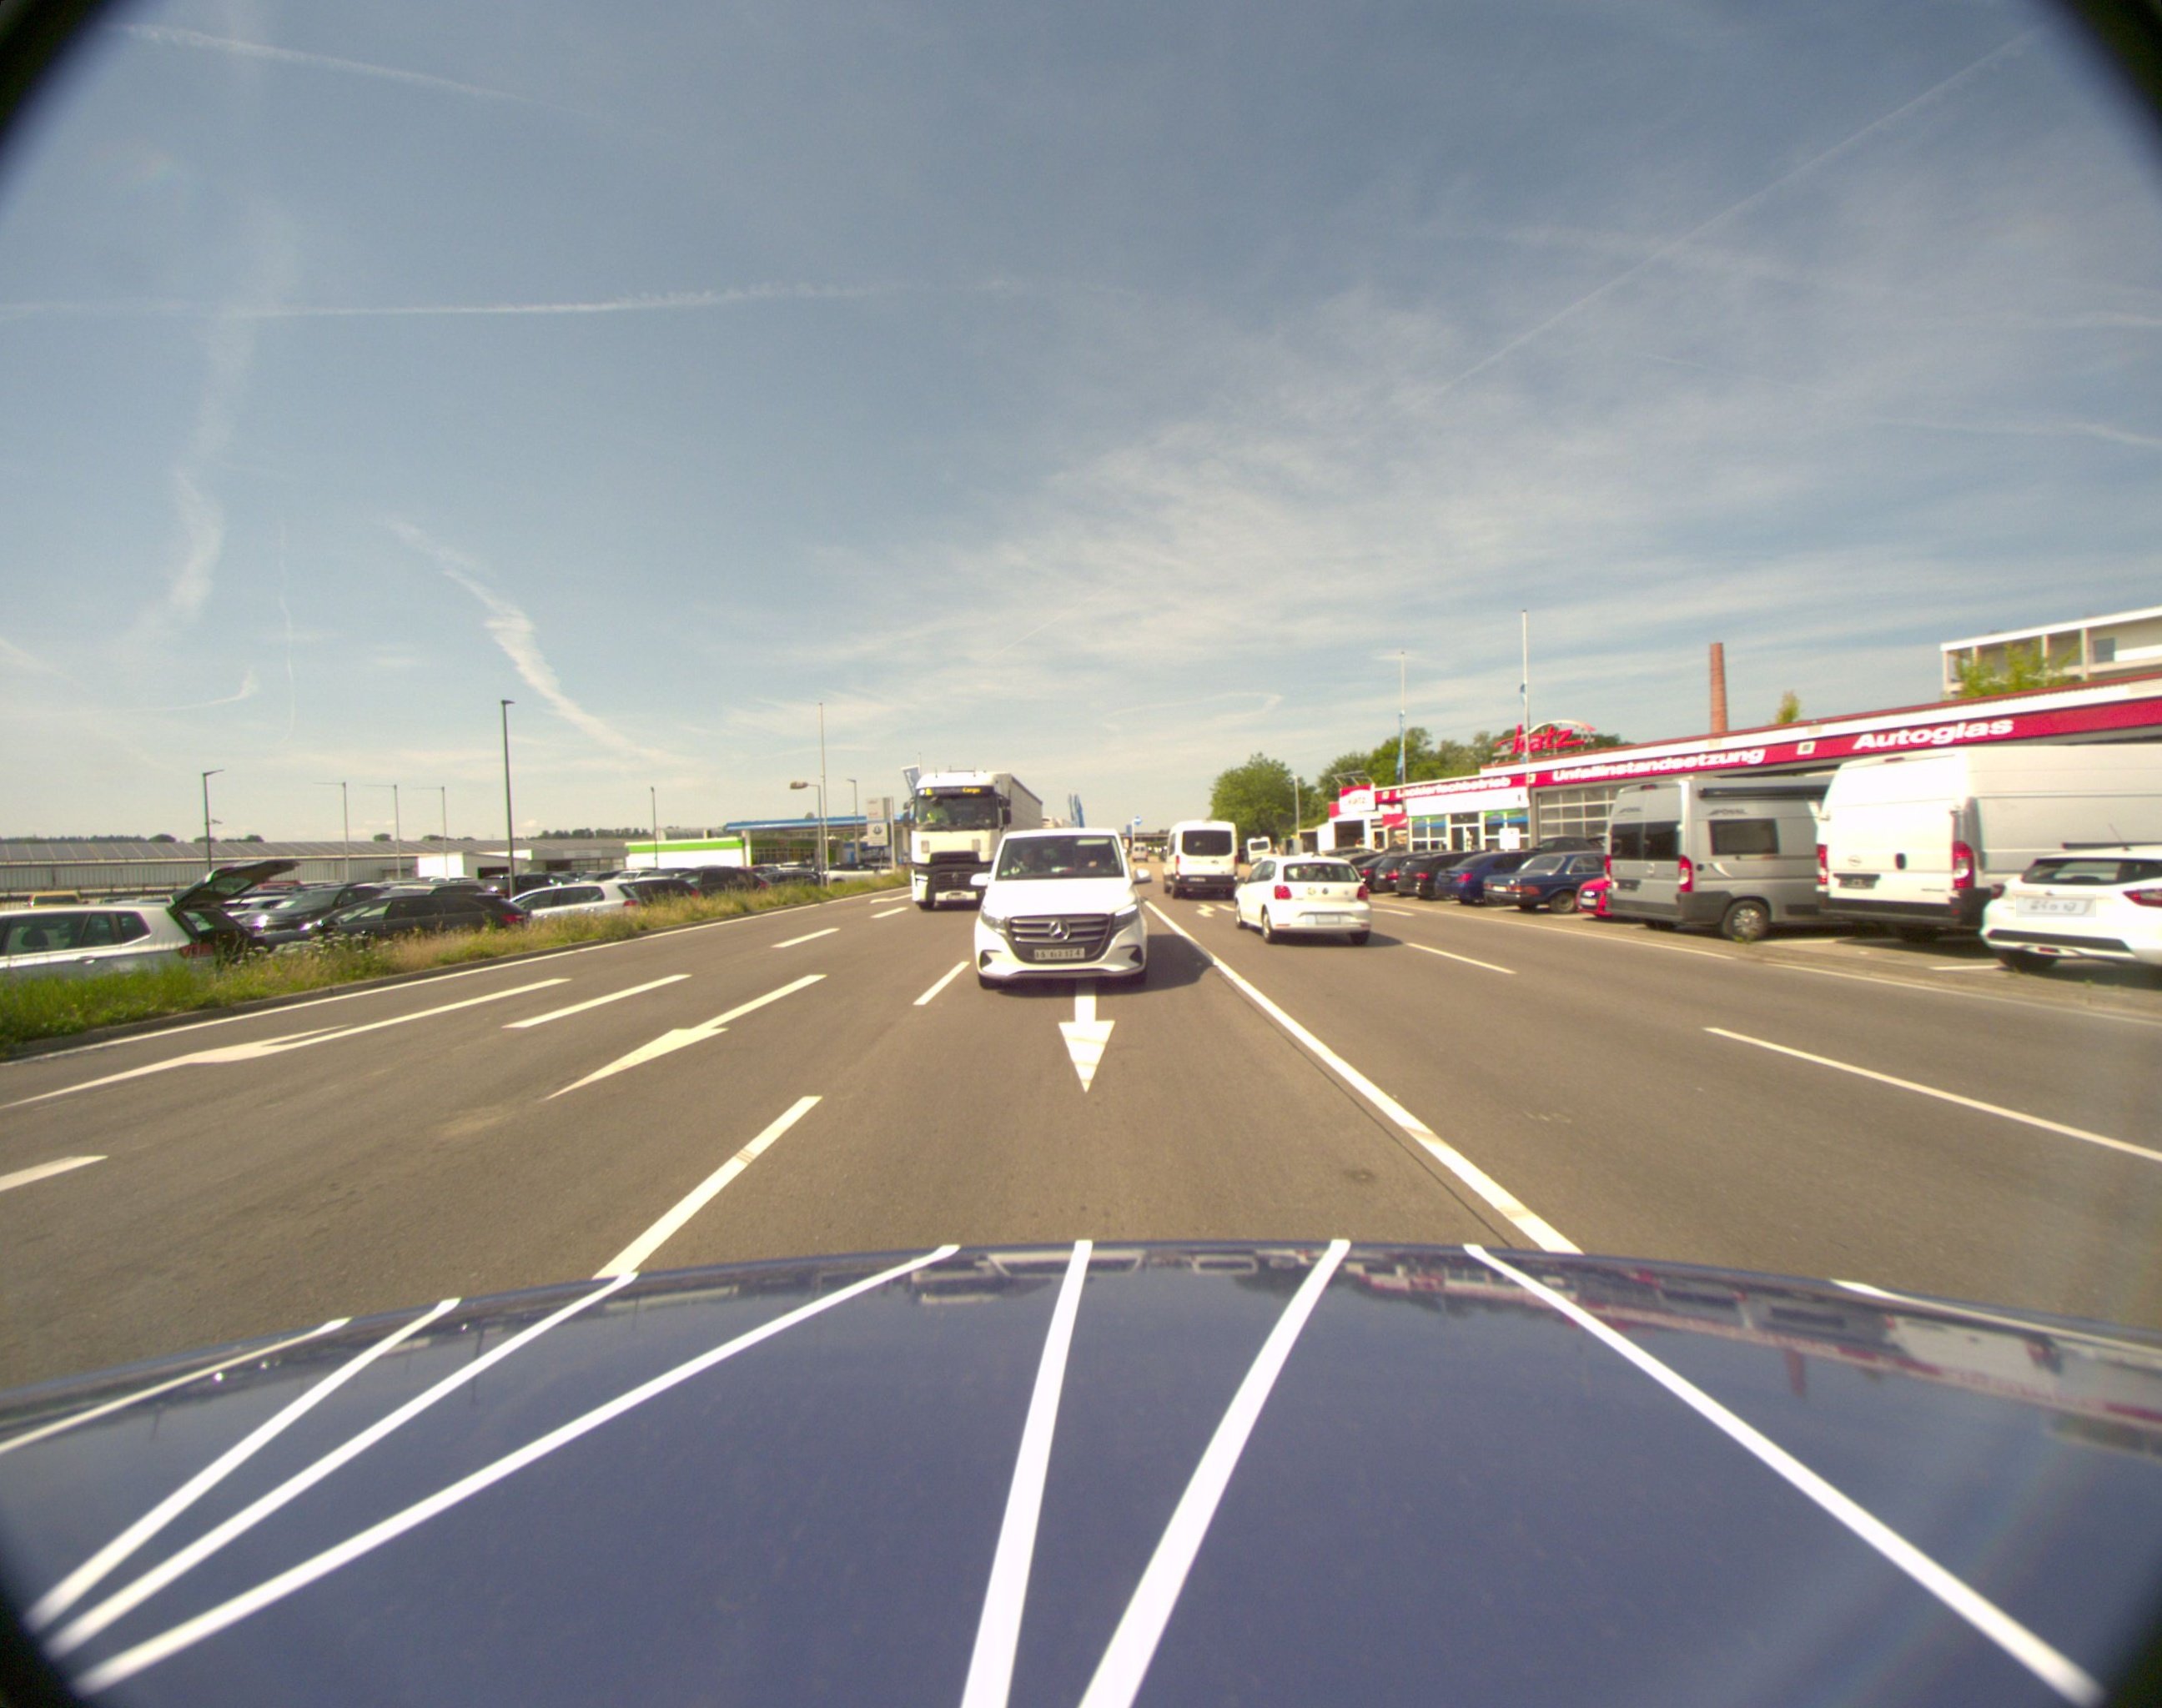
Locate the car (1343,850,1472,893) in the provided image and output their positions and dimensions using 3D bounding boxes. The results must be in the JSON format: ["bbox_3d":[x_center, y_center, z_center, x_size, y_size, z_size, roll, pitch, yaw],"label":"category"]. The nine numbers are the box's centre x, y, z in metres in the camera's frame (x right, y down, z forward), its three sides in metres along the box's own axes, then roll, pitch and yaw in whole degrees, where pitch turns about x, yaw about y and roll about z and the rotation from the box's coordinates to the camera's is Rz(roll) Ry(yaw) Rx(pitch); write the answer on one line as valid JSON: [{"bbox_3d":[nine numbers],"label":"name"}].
[{"bbox_3d":[12.013,0.635,28.152,3.996,1.474,1.756,-1,1,3],"label":"car"}]

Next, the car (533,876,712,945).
[{"bbox_3d":[-12.462,1.466,20.776,4.007,1.543,1.771,-2,1,-35],"label":"car"}]

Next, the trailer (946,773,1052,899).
[{"bbox_3d":[-2.973,-0.646,31.219,2.613,4.203,11.293,-1,0,2],"label":"trailer"}]

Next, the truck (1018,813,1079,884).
[{"bbox_3d":[-1.861,-0.343,47.974,2.646,3.963,9.241,-1,0,5],"label":"truck"}]

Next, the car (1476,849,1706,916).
[{"bbox_3d":[12.139,0.646,18.299,4.258,1.459,1.874,-1,1,2],"label":"car"}]

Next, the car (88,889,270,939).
[{"bbox_3d":[-36.581,2.384,31.049,1.774,1.645,4.539,-1,0,5],"label":"car"}]

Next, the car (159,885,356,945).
[{"bbox_3d":[-29.269,2.109,27.270,1.821,1.719,4.540,-1,0,6],"label":"car"}]

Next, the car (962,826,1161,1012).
[{"bbox_3d":[-0.159,0.650,10.660,1.993,1.858,5.803,-1,0,1],"label":"car"}]

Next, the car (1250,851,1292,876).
[{"bbox_3d":[12.131,0.569,48.618,1.765,1.406,4.000,-5,0,3],"label":"car"}]

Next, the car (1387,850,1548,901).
[{"bbox_3d":[11.864,0.640,23.532,3.997,1.443,1.946,-1,1,1],"label":"car"}]

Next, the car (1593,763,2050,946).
[{"bbox_3d":[12.333,0.017,13.018,5.579,2.757,2.177,-1,1,2],"label":"car"}]

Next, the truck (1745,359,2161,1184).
[{"bbox_3d":[6.667,-0.393,0.938,2.718,3.975,9.973,-1,0,-2],"label":"truck"}]

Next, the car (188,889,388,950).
[{"bbox_3d":[-26.769,2.145,25.910,1.774,1.645,4.539,-1,0,6],"label":"car"}]

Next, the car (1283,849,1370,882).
[{"bbox_3d":[12.433,0.566,38.701,3.798,1.542,1.941,-1,1,-1],"label":"car"}]

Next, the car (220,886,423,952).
[{"bbox_3d":[-23.827,1.960,24.140,1.969,1.645,4.536,-1,0,-3],"label":"car"}]

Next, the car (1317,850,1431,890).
[{"bbox_3d":[11.856,0.614,30.917,3.974,1.484,1.739,-1,1,-2],"label":"car"}]

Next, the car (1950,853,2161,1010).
[{"bbox_3d":[12.520,0.733,8.220,3.996,1.461,1.881,-1,1,2],"label":"car"}]

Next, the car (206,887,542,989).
[{"bbox_3d":[-13.004,1.469,14.427,4.350,1.444,1.772,-1,1,-31],"label":"car"}]

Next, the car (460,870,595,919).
[{"bbox_3d":[-21.657,1.531,29.995,1.774,1.645,4.539,-1,0,4],"label":"car"}]

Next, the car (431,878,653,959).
[{"bbox_3d":[-12.436,1.434,17.868,4.005,1.549,1.709,-1,1,-27],"label":"car"}]

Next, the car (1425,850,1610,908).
[{"bbox_3d":[11.868,0.653,20.867,3.997,1.445,1.906,-1,1,1],"label":"car"}]

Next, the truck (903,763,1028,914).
[{"bbox_3d":[-3.291,-0.438,23.275,2.647,3.964,6.042,-1,1,2],"label":"truck"}]

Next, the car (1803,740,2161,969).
[{"bbox_3d":[13.975,-0.009,10.555,5.722,2.822,2.117,-1,0,2],"label":"car"}]

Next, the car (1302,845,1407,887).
[{"bbox_3d":[11.985,0.495,33.495,3.996,1.717,1.871,-1,1,2],"label":"car"}]

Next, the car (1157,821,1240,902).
[{"bbox_3d":[4.035,0.216,27.297,2.063,2.495,7.114,-1,0,2],"label":"car"}]

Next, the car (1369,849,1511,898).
[{"bbox_3d":[11.988,0.623,25.576,3.877,1.490,1.949,-1,1,3],"label":"car"}]

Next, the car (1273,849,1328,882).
[{"bbox_3d":[12.032,0.580,41.887,1.998,1.546,4.001,-5,0,4],"label":"car"}]

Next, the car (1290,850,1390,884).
[{"bbox_3d":[12.201,0.588,35.967,3.997,1.516,2.000,-1,1,-1],"label":"car"}]

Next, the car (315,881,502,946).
[{"bbox_3d":[-21.238,1.794,24.338,1.908,1.645,4.708,-1,0,-3],"label":"car"}]

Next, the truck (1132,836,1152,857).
[{"bbox_3d":[8.358,-1.041,104.648,2.441,2.820,6.042,-1,0,3],"label":"truck"}]

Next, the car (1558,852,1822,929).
[{"bbox_3d":[12.443,0.708,15.734,3.948,1.423,1.828,-1,1,2],"label":"car"}]
